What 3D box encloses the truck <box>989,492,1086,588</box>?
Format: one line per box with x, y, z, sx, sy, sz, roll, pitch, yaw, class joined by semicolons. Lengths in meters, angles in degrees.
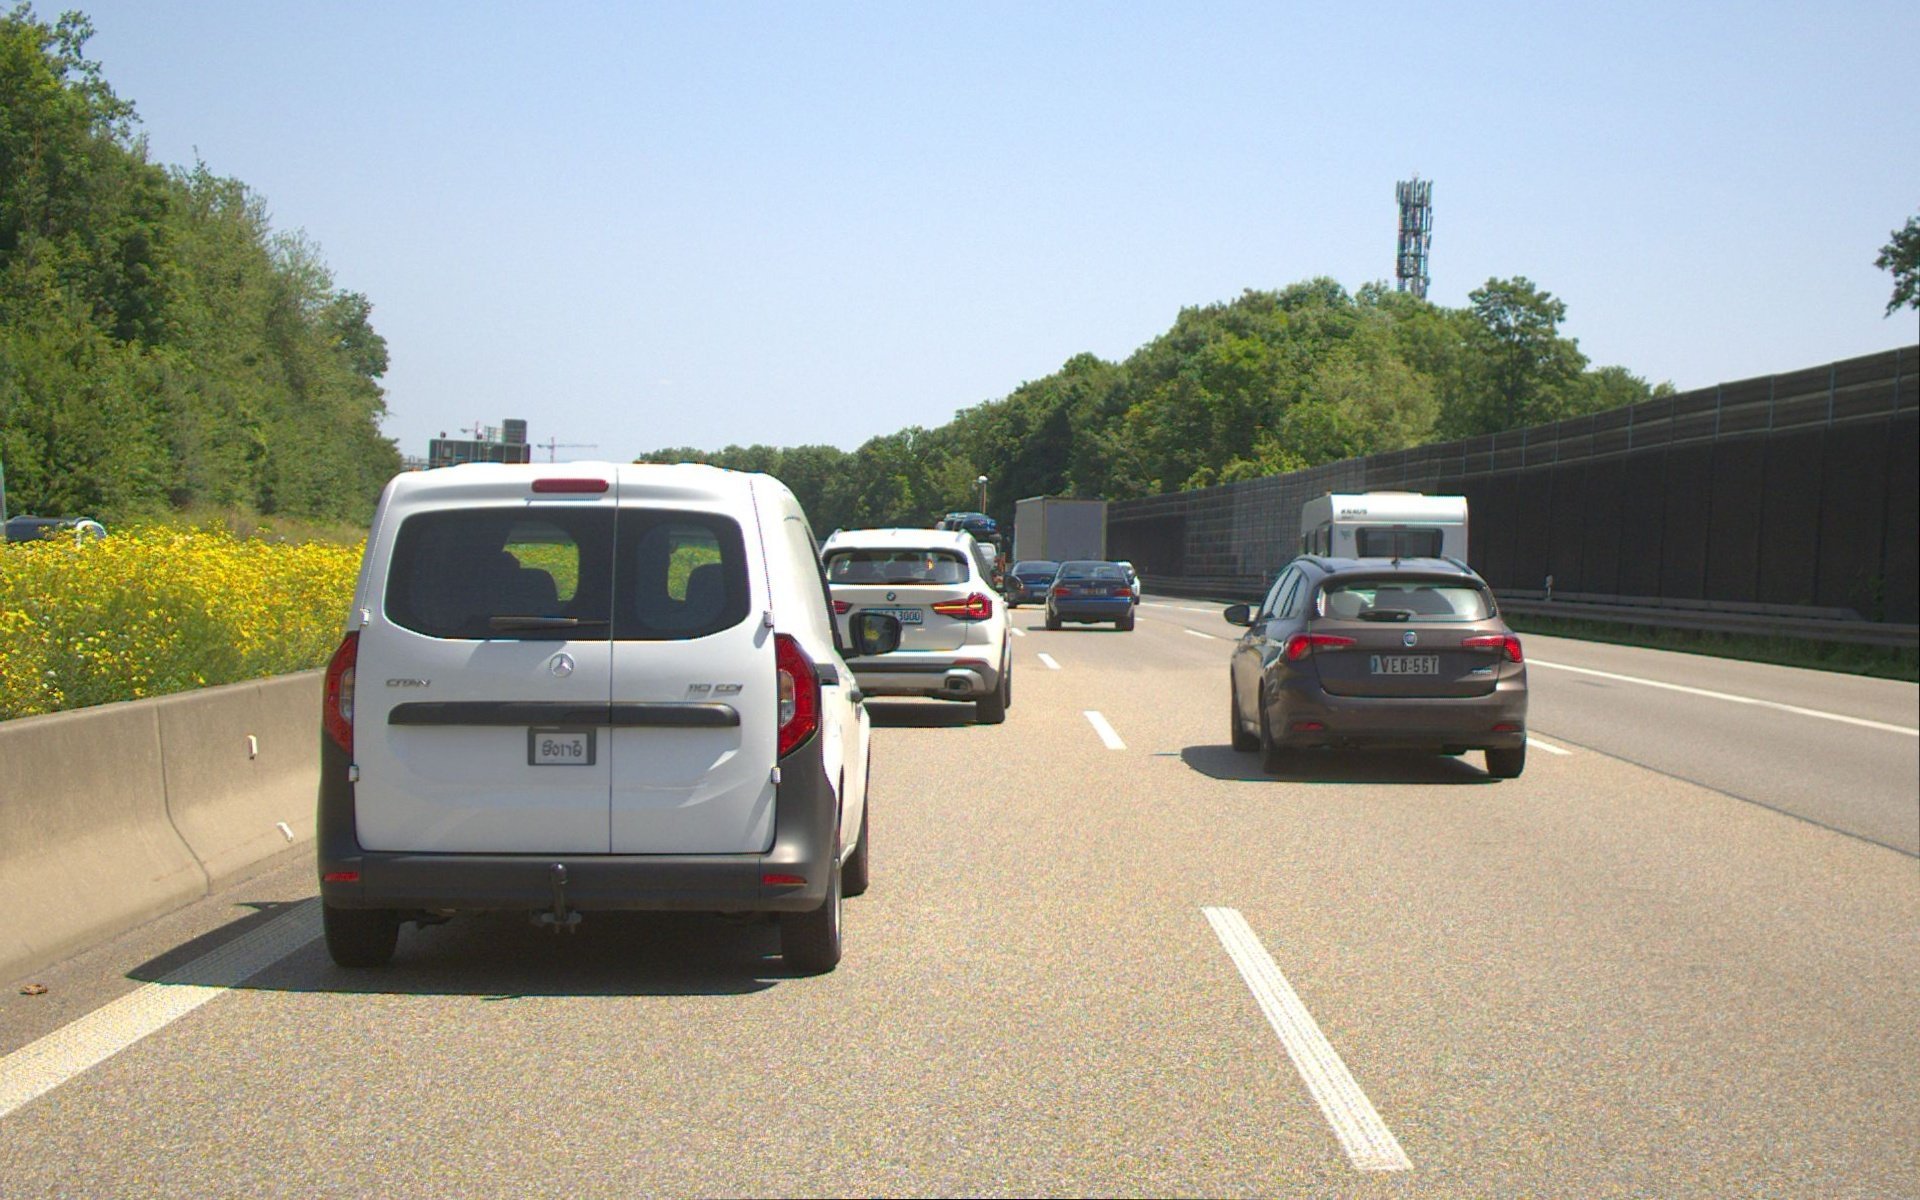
3.304;-2.573;149.188;3.081;3.972;9.648;1;0;-5;truck

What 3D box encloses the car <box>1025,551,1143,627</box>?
2.422;-0.221;67.830;1.824;1.419;4.001;1;0;-5;car

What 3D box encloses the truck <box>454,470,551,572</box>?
-17.998;-3.081;135.634;2.748;3.844;8.414;1;1;-1;truck

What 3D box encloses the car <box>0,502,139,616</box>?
-14.915;-0.690;56.355;1.882;1.759;4.322;1;1;-1;car

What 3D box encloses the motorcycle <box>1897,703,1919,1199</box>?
2.670;0.864;6.989;0.859;1.177;2.277;1;1;-1;motorcycle

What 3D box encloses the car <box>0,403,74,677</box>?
-8.252;-0.443;23.857;2.323;2.007;6.183;1;1;3;car

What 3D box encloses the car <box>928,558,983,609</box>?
-0.206;-0.664;135.600;1.824;1.982;4.001;0;1;-5;car

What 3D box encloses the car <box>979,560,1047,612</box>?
1.519;-0.410;99.393;1.824;1.419;4.000;1;0;-1;car

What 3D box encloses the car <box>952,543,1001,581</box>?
0.875;-2.091;188.171;1.993;2.007;4.001;1;1;-10;car

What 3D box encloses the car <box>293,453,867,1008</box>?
-1.306;0.411;13.320;1.802;1.802;4.000;1;1;-1;car

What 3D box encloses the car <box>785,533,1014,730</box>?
-0.525;0.230;30.600;1.871;1.603;3.879;1;1;-1;car

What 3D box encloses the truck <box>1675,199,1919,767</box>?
7.606;-0.843;27.476;2.598;4.076;5.553;1;0;1;truck

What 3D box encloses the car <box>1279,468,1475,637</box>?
7.200;-0.808;60.098;2.478;2.756;6.220;1;0;-1;car

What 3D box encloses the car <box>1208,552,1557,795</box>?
2.881;0.444;24.339;1.838;1.508;4.402;1;1;-1;car

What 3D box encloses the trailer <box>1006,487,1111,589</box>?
3.986;-2.509;141.749;3.081;3.972;10.325;1;0;-5;trailer
